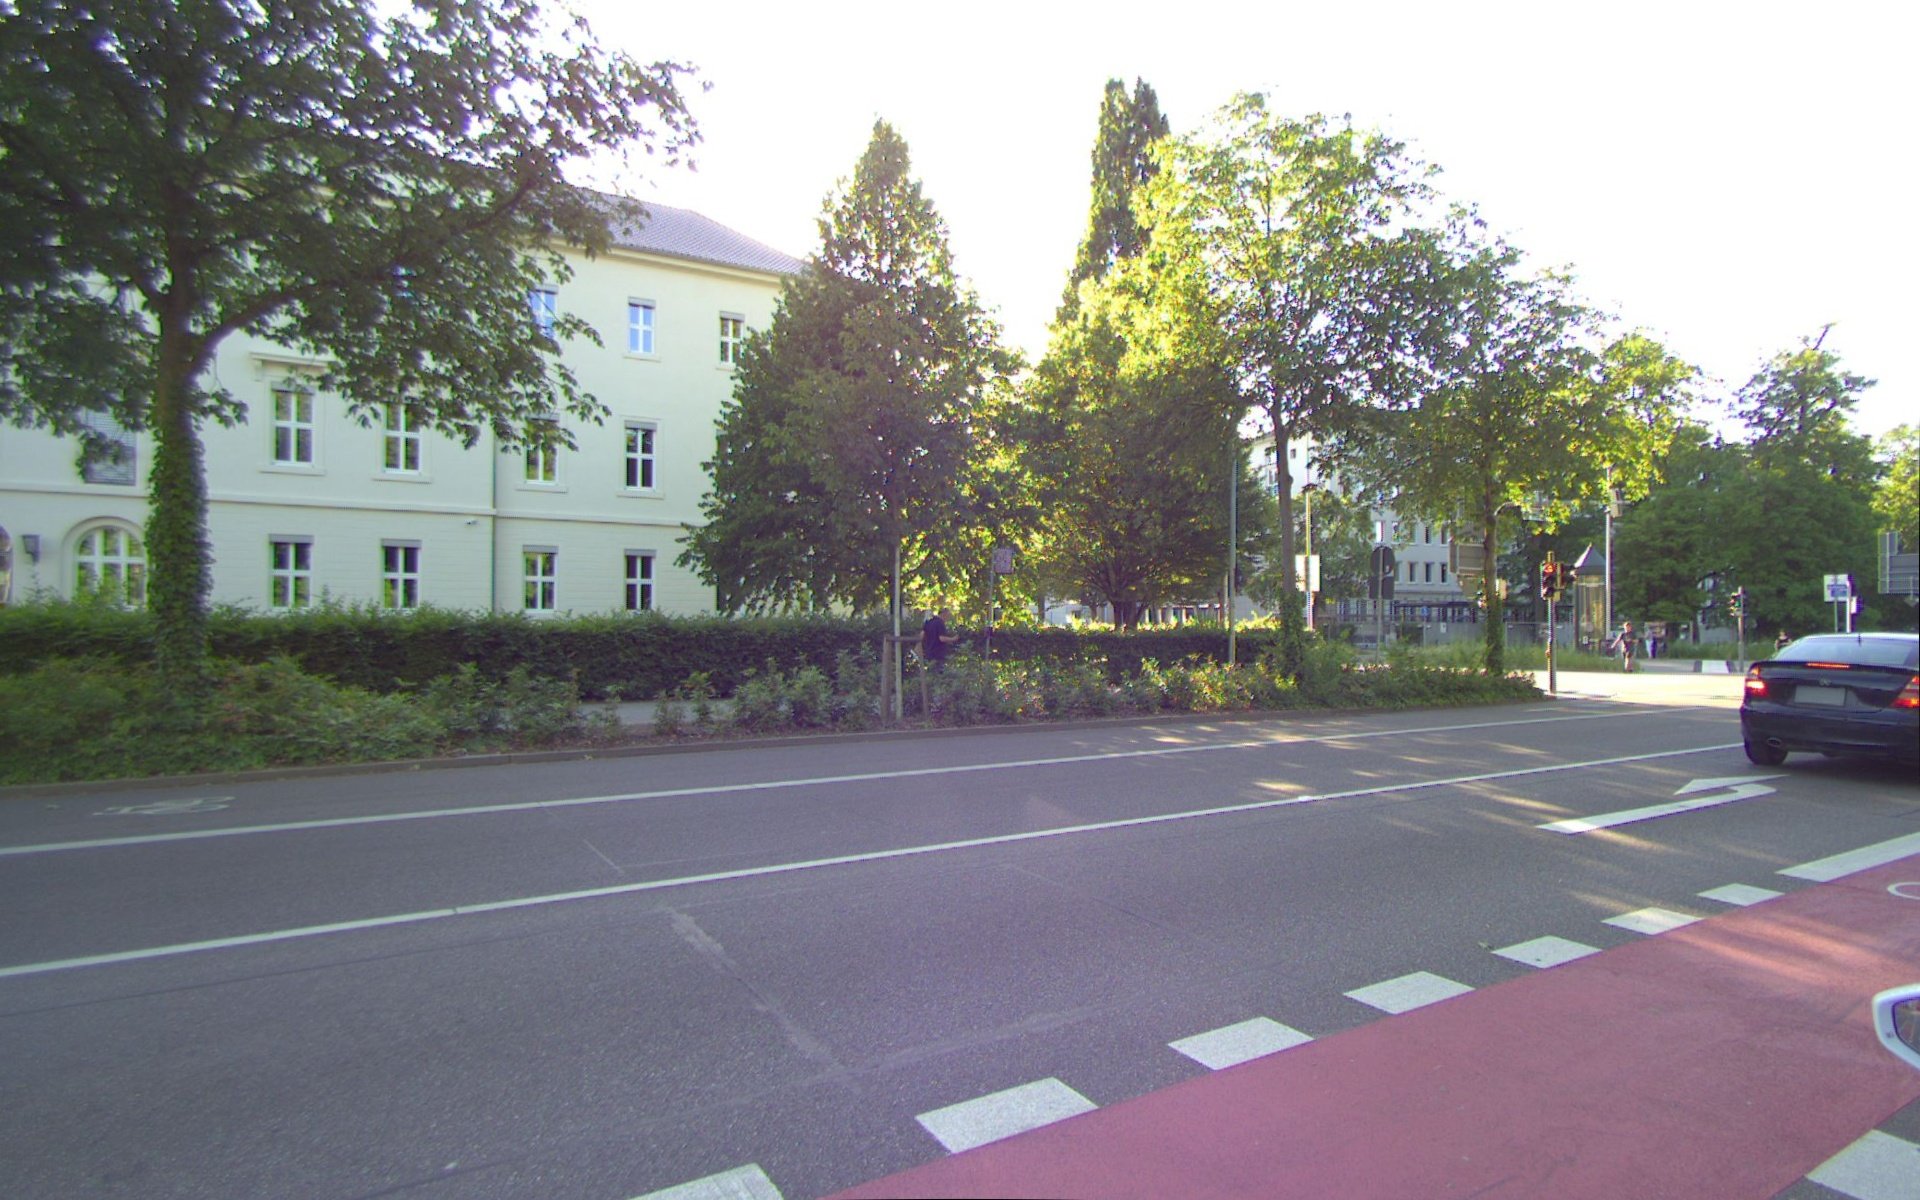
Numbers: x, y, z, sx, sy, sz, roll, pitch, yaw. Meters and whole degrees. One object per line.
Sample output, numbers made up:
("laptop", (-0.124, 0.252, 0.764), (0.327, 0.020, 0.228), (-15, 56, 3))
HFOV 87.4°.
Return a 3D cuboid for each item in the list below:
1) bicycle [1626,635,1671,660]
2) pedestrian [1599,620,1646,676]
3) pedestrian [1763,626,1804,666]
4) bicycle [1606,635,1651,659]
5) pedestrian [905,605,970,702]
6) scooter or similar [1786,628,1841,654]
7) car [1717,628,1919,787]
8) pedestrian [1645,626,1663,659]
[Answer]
("bicycle", (34.494, 2.366, 50.361), (0.288, 1.163, 1.849), (1, -1, -36))
("pedestrian", (24.768, 1.772, 37.541), (1.175, 2.040, 0.992), (1, 0, -25))
("pedestrian", (33.950, 1.892, 41.405), (0.992, 1.624, 1.080), (1, -2, -36))
("bicycle", (34.215, 2.385, 51.426), (0.439, 1.163, 1.849), (1, -1, -36))
("pedestrian", (-0.422, 0.988, 18.751), (0.956, 1.743, 0.831), (1, -2, -29))
("scooter or similar", (39.452, 1.892, 46.461), (1.882, 1.139, 0.713), (1, 0, 3))
("car", (10.039, 1.016, 10.672), (4.214, 1.423, 1.697), (1, -2, -30))
("pedestrian", (34.530, 2.121, 49.943), (0.442, 1.601, 0.624), (1, 0, -39))
